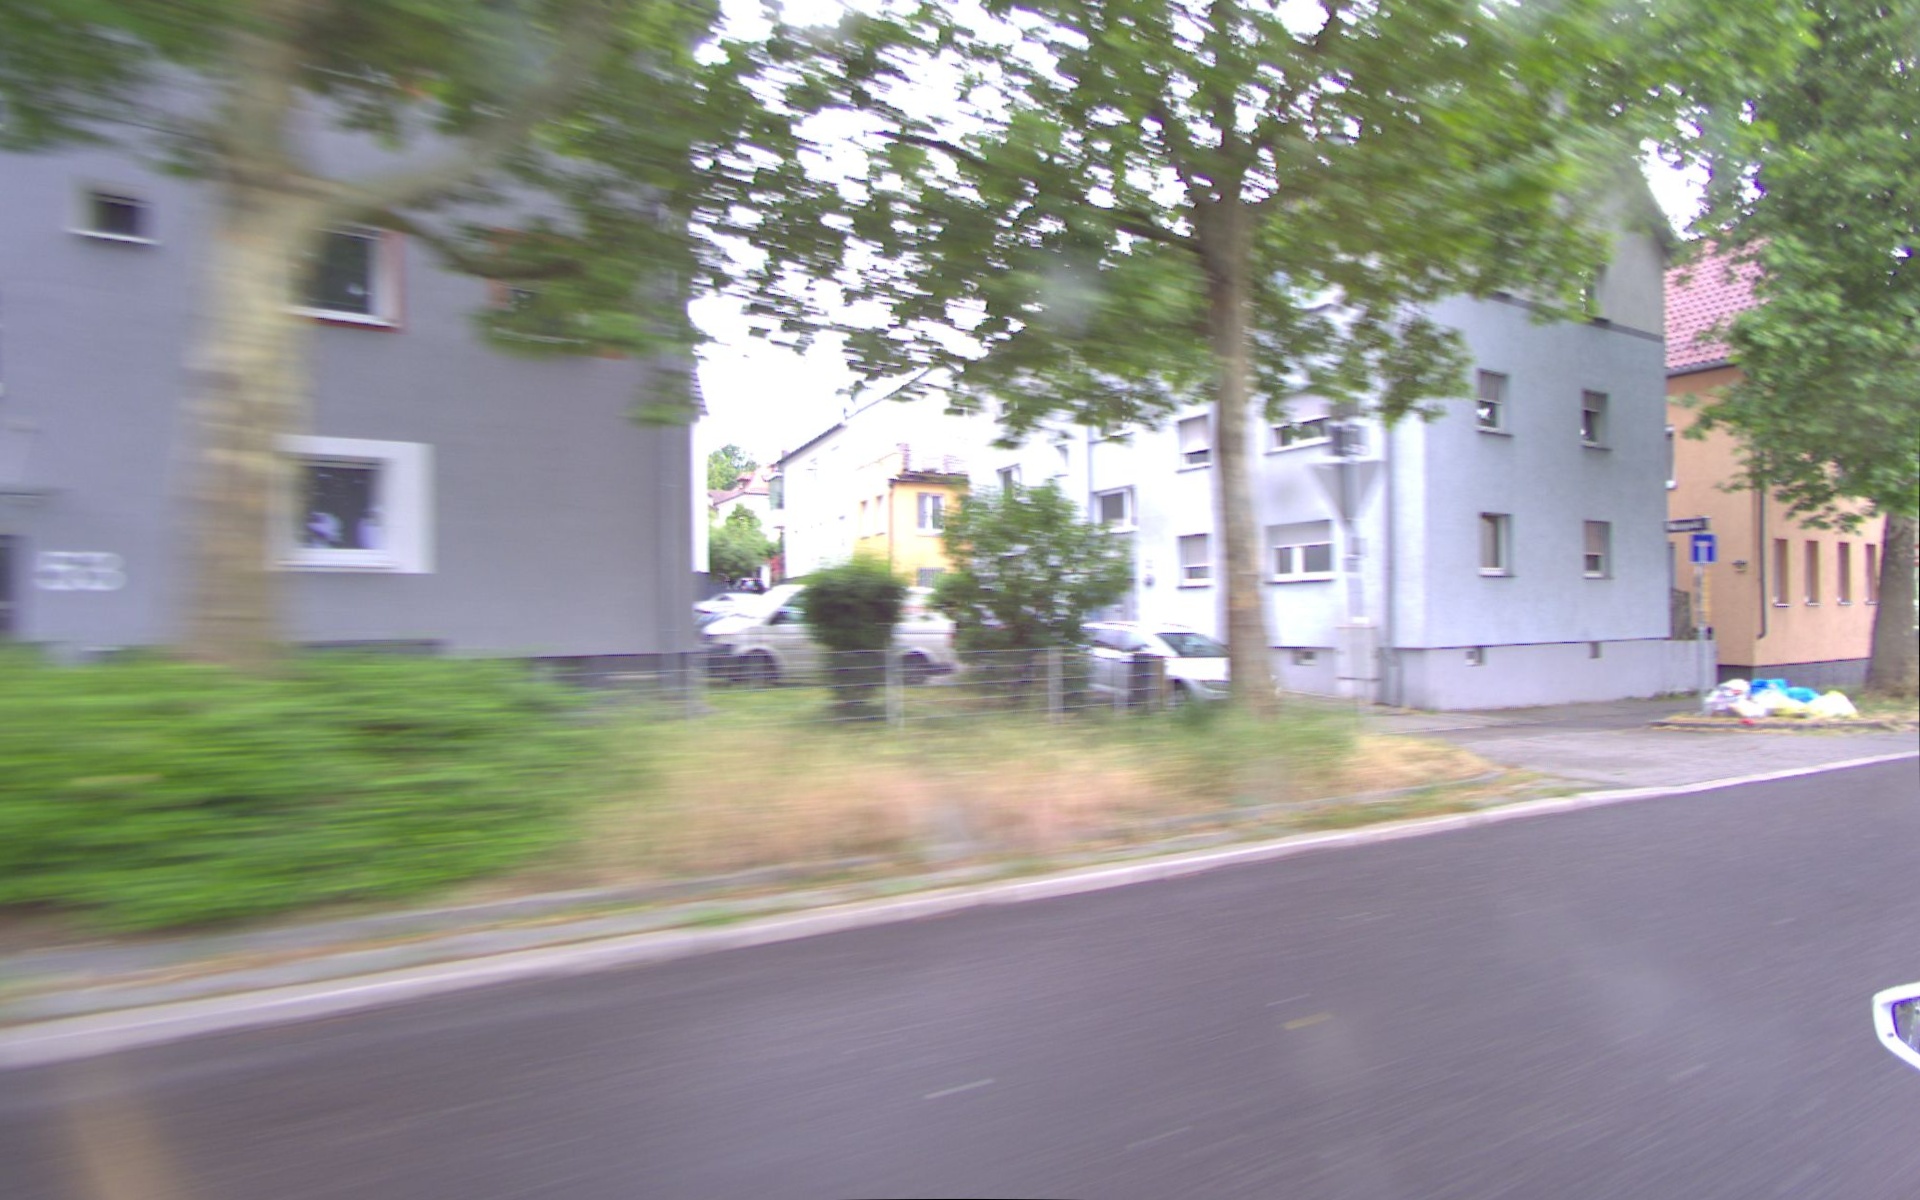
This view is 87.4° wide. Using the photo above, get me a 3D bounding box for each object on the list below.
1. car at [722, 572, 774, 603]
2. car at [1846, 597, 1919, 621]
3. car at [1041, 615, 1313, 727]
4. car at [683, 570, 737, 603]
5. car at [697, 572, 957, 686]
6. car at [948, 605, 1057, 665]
[{"bbox_3d":[-11.958,-0.741,56.540,1.841,1.607,3.971,2,1,-27],"label":"car"},{"bbox_3d":[61.607,0.602,66.550,1.825,1.433,3.971,2,0,-28],"label":"car"},{"bbox_3d":[3.475,1.088,17.039,1.848,1.496,4.640,2,0,-30],"label":"car"},{"bbox_3d":[-13.116,-0.689,52.493,1.841,1.607,3.972,2,0,-27],"label":"car"},{"bbox_3d":[-2.495,0.561,19.013,4.492,1.945,1.878,2,0,-26],"label":"car"},{"bbox_3d":[1.128,0.914,27.854,1.598,1.481,3.143,-1,2,-30],"label":"car"}]
